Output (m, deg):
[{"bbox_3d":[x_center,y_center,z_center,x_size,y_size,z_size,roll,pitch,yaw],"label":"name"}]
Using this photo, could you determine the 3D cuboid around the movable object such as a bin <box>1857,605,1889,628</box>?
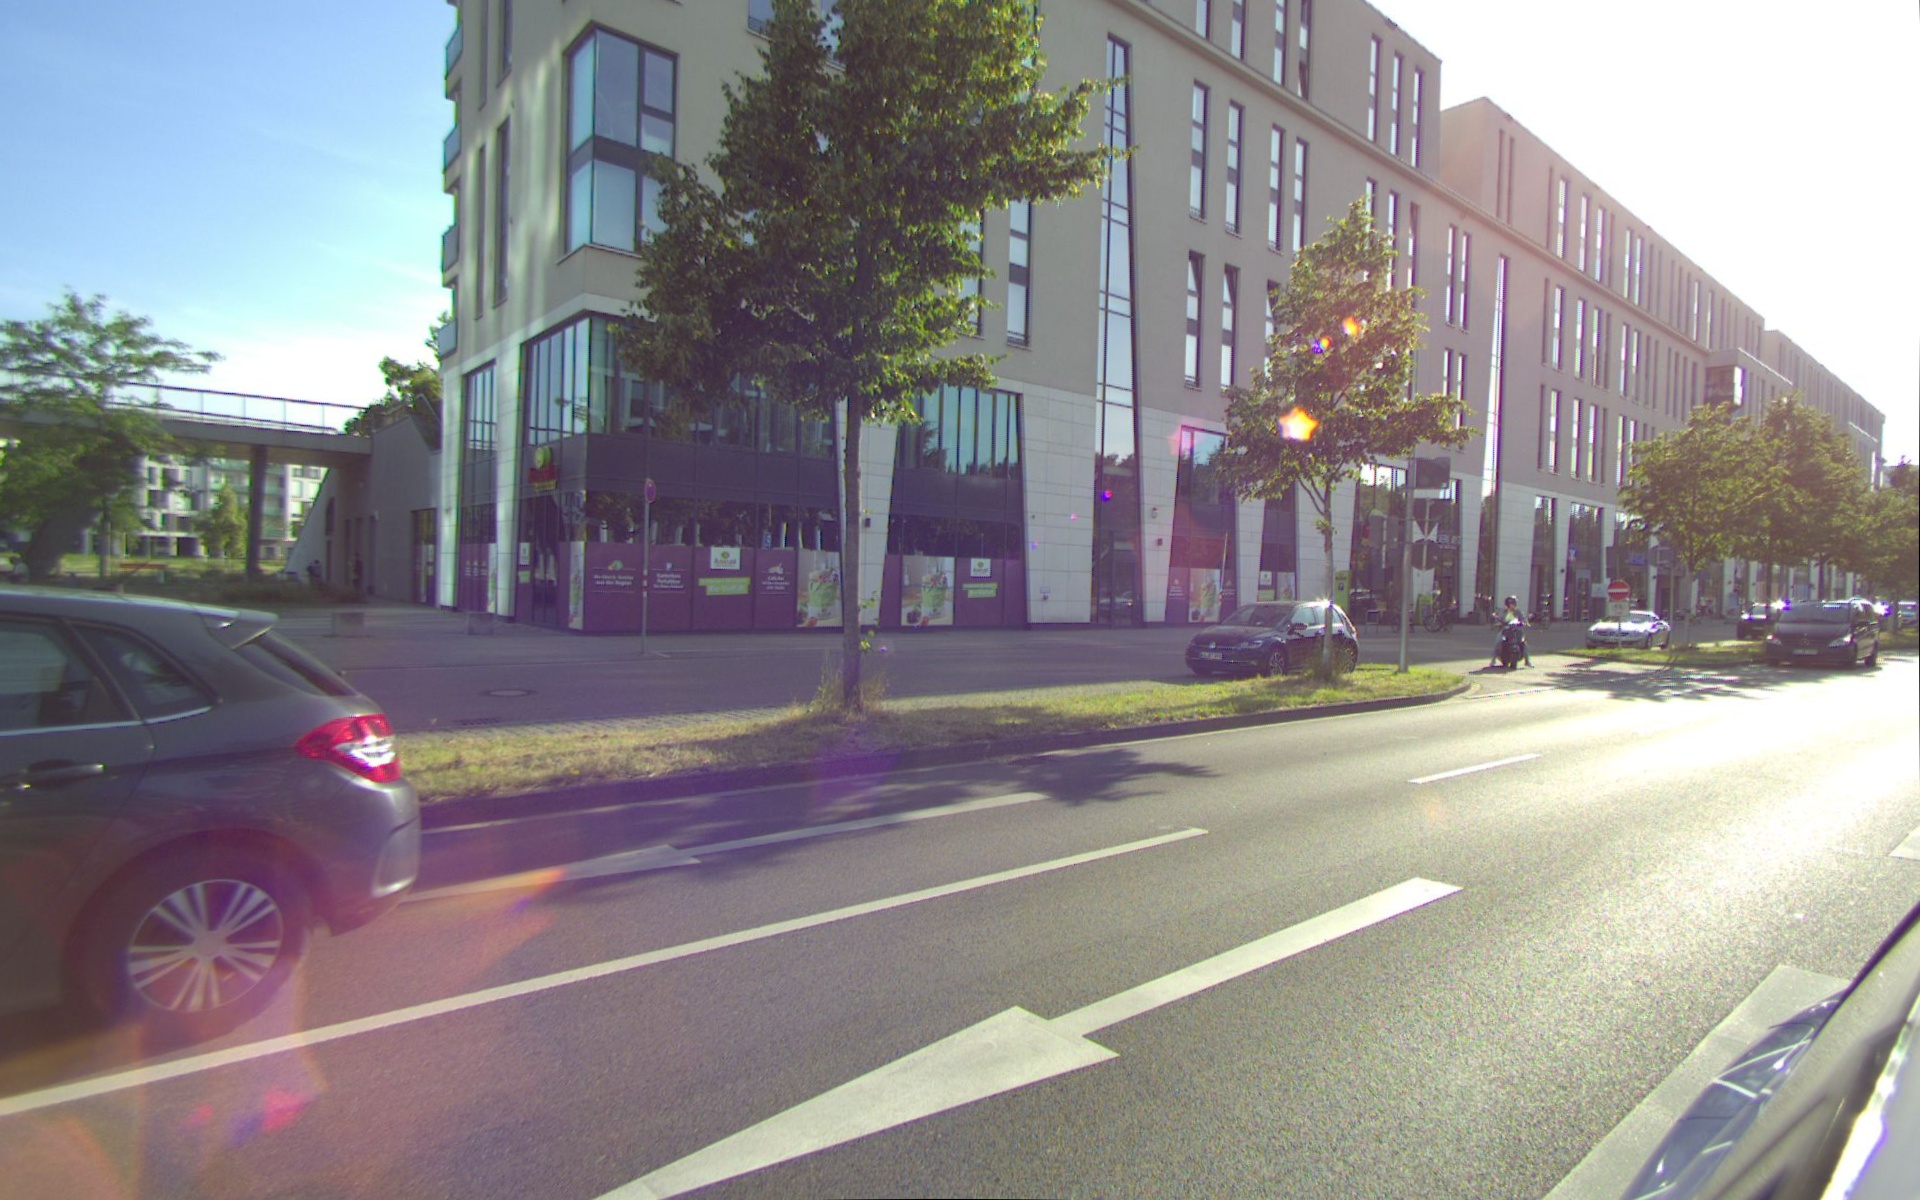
[{"bbox_3d":[53.414,0.966,59.211,1.158,1.308,1.278,0,0,-43],"label":"movable object such as a bin"}]

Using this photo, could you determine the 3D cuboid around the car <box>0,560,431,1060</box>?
[{"bbox_3d":[-3.953,0.604,2.966,3.972,1.442,1.696,0,0,-43],"label":"car"}]

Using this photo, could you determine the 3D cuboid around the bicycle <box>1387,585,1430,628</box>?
[{"bbox_3d":[16.972,0.229,38.294,2.236,1.590,0.556,-1,0,-40],"label":"bicycle"}]

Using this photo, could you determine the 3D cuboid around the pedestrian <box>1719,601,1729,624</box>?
[{"bbox_3d":[54.355,0.897,72.029,0.536,1.594,0.509,0,0,35],"label":"pedestrian"}]

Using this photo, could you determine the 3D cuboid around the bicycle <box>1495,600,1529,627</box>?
[{"bbox_3d":[23.991,0.576,43.978,1.870,1.097,0.635,1,2,-40],"label":"bicycle"}]

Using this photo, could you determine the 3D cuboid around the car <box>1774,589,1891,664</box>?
[{"bbox_3d":[24.339,0.667,28.171,4.736,1.915,1.802,0,0,-41],"label":"car"}]

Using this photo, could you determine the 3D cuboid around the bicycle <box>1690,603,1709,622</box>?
[{"bbox_3d":[45.753,0.760,62.640,1.911,1.130,0.493,0,2,-40],"label":"bicycle"}]

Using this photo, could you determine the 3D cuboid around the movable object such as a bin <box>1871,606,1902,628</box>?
[{"bbox_3d":[54.917,0.999,60.015,1.171,1.252,1.278,0,0,-43],"label":"movable object such as a bin"}]

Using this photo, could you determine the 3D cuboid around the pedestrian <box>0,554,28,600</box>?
[{"bbox_3d":[-27.332,-0.668,29.240,0.571,1.310,0.597,0,0,-40],"label":"pedestrian"}]

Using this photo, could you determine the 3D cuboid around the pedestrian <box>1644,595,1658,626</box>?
[{"bbox_3d":[40.795,0.624,59.709,0.635,1.785,0.538,0,0,-40],"label":"pedestrian"}]

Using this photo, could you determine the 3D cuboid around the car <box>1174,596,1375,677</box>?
[{"bbox_3d":[6.096,0.632,19.423,4.080,1.388,1.611,0,0,-37],"label":"car"}]

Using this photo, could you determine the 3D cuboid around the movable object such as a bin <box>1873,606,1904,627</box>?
[{"bbox_3d":[55.880,0.974,60.905,1.171,1.252,1.278,0,0,-43],"label":"movable object such as a bin"}]

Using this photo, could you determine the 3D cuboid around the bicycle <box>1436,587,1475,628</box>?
[{"bbox_3d":[19.787,0.267,40.368,2.173,1.587,0.556,-1,0,-40],"label":"bicycle"}]

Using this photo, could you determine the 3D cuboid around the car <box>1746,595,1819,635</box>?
[{"bbox_3d":[37.512,0.674,46.102,4.597,1.730,1.900,1,-1,-42],"label":"car"}]

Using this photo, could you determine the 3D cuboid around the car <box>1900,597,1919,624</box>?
[{"bbox_3d":[70.227,0.723,74.042,4.947,1.900,1.839,0,0,-43],"label":"car"}]

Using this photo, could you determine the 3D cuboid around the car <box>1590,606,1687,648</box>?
[{"bbox_3d":[22.153,0.840,32.996,3.837,1.258,1.711,0,0,-41],"label":"car"}]

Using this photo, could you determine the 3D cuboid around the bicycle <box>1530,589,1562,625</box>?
[{"bbox_3d":[27.303,0.304,47.156,2.173,1.639,0.556,-1,0,-40],"label":"bicycle"}]

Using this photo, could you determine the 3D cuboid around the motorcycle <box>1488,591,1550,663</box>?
[{"bbox_3d":[13.240,0.608,23.942,1.978,1.638,0.702,0,0,-43],"label":"motorcycle"}]

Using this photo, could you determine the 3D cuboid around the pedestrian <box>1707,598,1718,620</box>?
[{"bbox_3d":[53.763,0.620,72.330,0.587,1.541,0.514,0,0,-40],"label":"pedestrian"}]

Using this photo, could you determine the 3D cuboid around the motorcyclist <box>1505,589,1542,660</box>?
[{"bbox_3d":[13.397,0.569,24.060,0.411,1.660,0.624,1,1,-43],"label":"motorcyclist"}]
